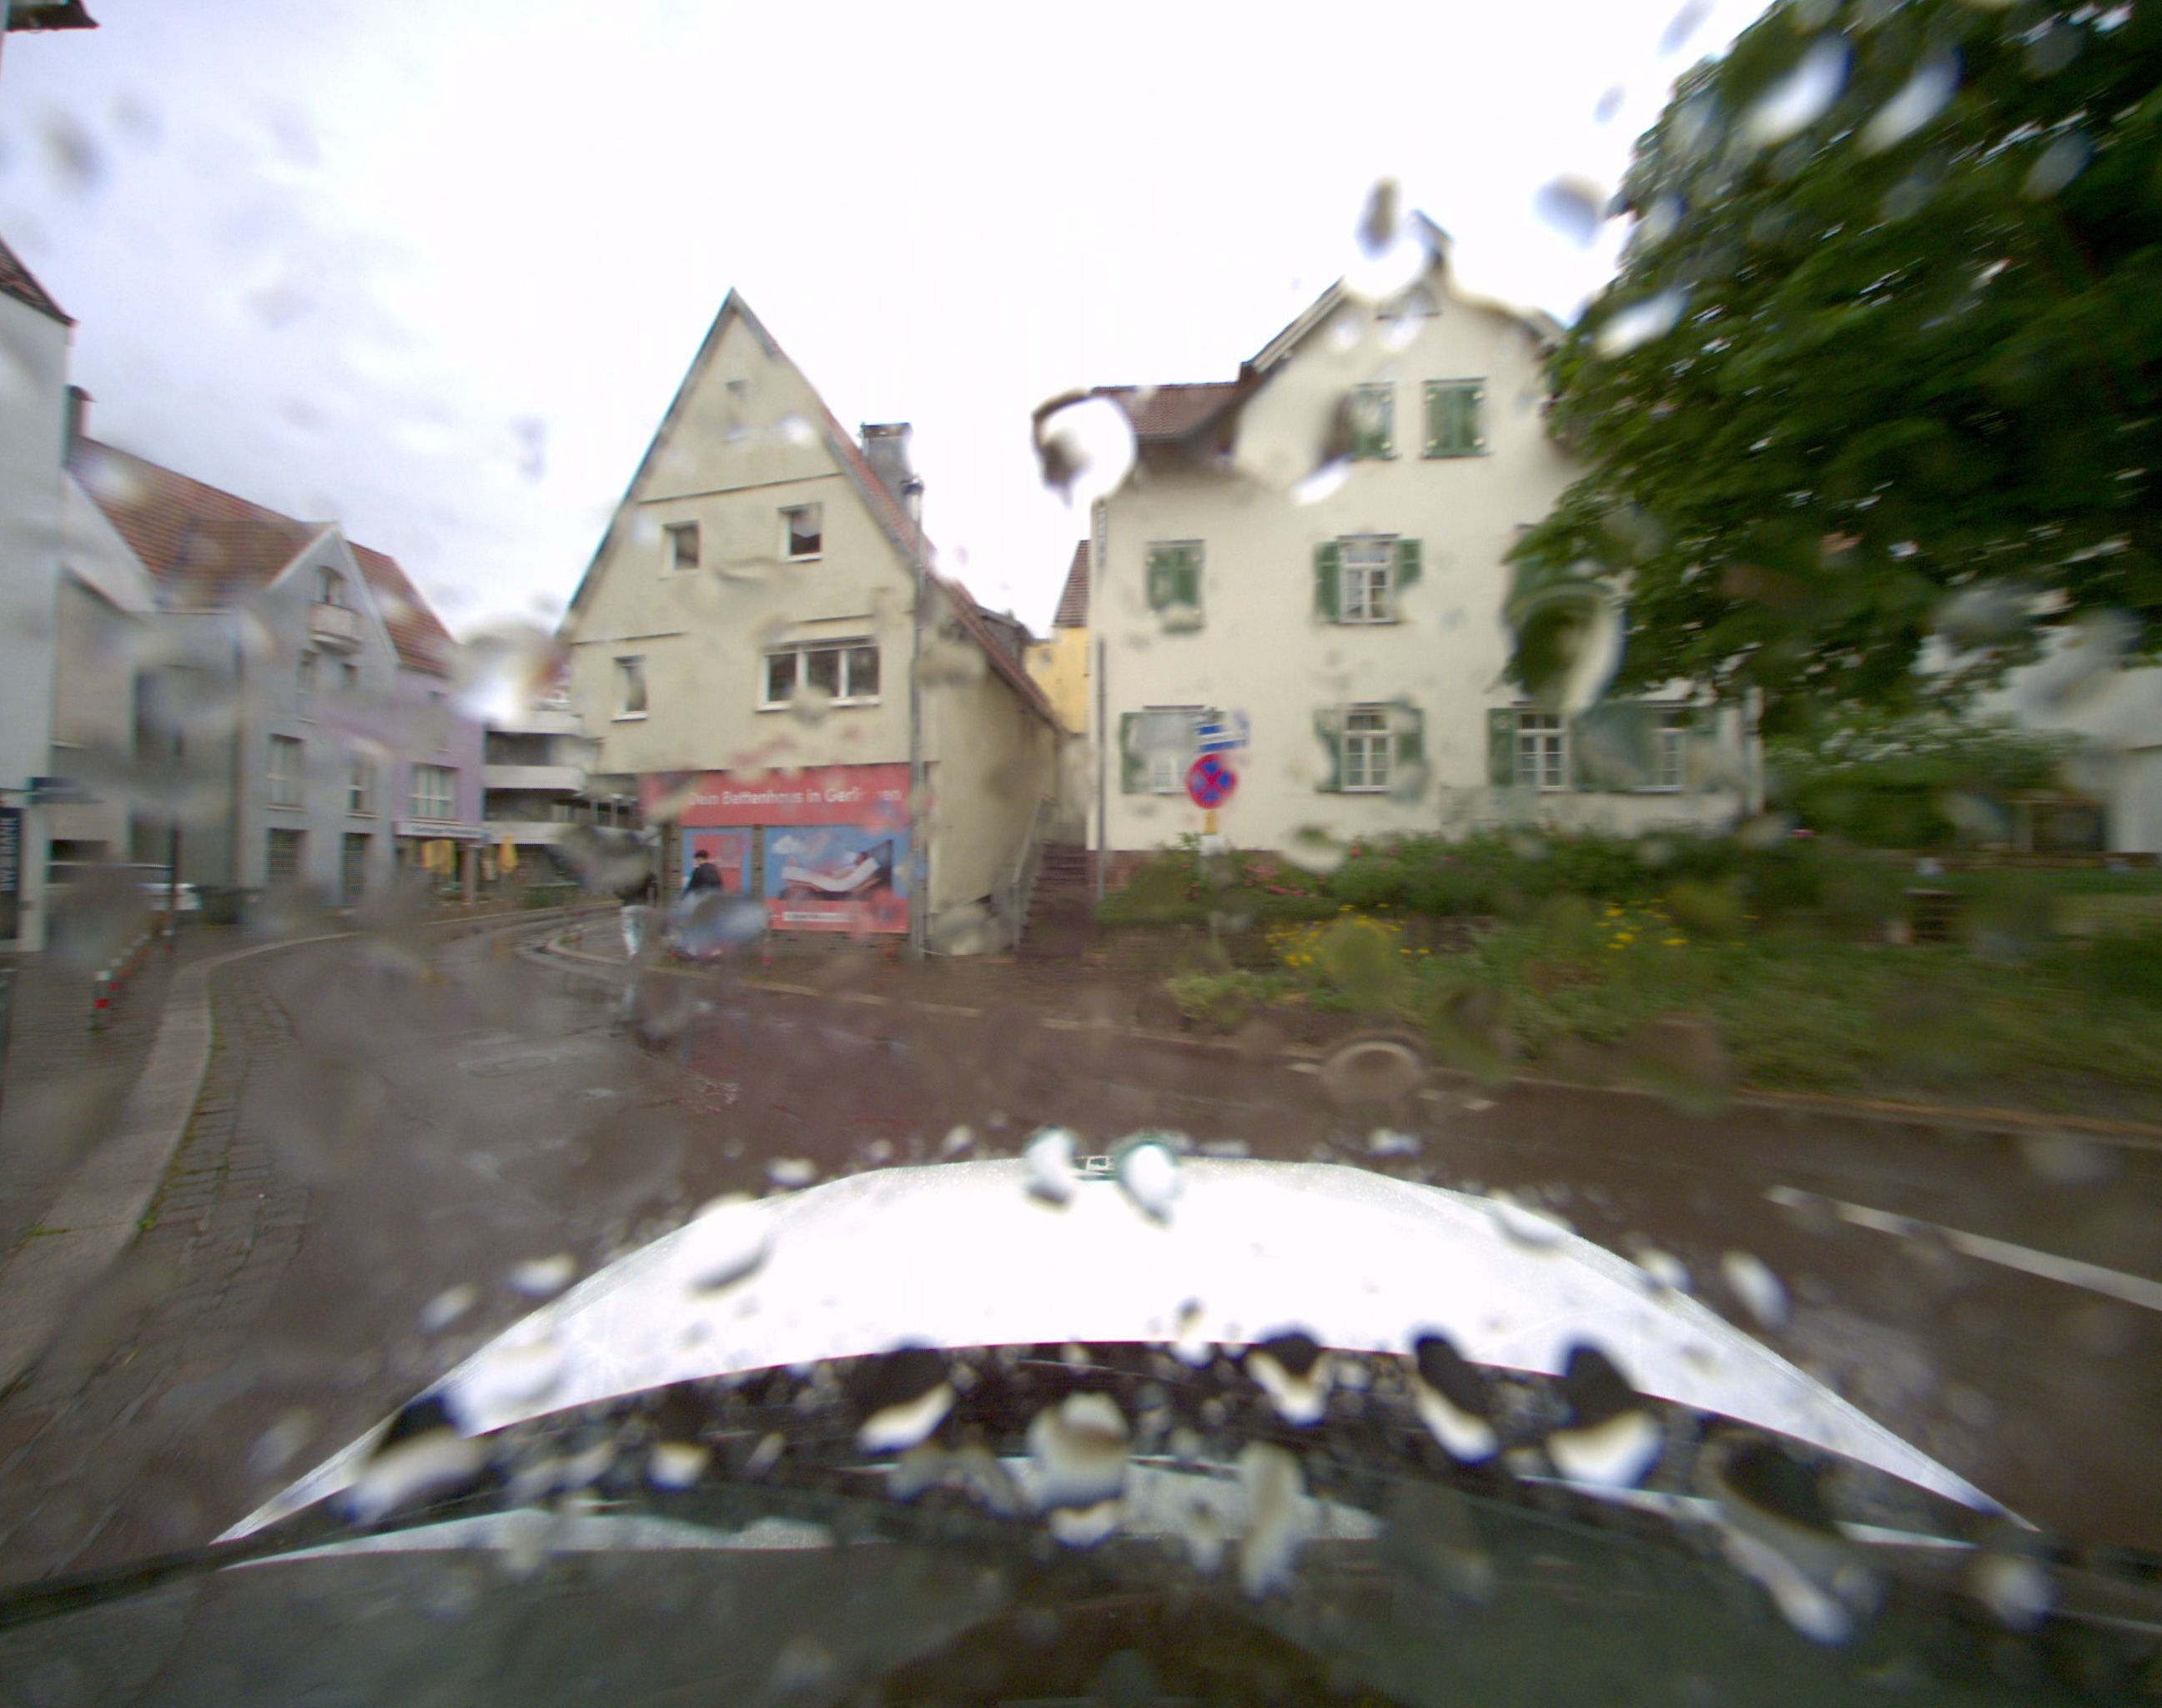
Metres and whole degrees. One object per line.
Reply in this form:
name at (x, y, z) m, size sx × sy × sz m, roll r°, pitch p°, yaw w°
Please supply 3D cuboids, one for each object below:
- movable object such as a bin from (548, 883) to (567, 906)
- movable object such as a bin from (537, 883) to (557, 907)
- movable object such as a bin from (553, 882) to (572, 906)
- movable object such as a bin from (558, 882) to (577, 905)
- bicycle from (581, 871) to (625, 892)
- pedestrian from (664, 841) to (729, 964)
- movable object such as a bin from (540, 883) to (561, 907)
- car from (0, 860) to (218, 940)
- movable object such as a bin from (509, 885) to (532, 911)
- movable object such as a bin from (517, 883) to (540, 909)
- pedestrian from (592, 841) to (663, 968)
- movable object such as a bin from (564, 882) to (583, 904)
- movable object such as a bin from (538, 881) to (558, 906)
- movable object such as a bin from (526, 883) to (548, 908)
movable object such as a bin at (-25.693, 1.979, 39.961) m, size 0.633 × 1.128 × 0.574 m, roll 0°, pitch -2°, yaw -12°
movable object such as a bin at (-25.247, 1.920, 38.513) m, size 0.633 × 1.128 × 0.574 m, roll 0°, pitch -2°, yaw -12°
movable object such as a bin at (-25.831, 1.989, 40.597) m, size 0.633 × 1.128 × 0.574 m, roll 0°, pitch -2°, yaw -12°
movable object such as a bin at (-25.991, 1.993, 41.227) m, size 0.633 × 1.128 × 0.574 m, roll 0°, pitch -2°, yaw -12°
bicycle at (-32.254, 1.856, 54.994) m, size 2.300 × 1.314 × 1.007 m, roll -1°, pitch -2°, yaw -8°
pedestrian at (-6.520, 0.812, 13.836) m, size 0.753 × 2.014 × 0.656 m, roll -2°, pitch -2°, yaw 18°
movable object such as a bin at (-25.545, 1.954, 39.224) m, size 0.633 × 1.128 × 0.574 m, roll 0°, pitch -2°, yaw -12°
car at (-22.602, 1.006, 18.403) m, size 3.974 × 1.676 × 1.999 m, roll 0°, pitch -2°, yaw 0°
movable object such as a bin at (-24.284, 1.894, 35.272) m, size 0.633 × 1.128 × 0.574 m, roll 0°, pitch -2°, yaw -12°
movable object such as a bin at (-24.434, 1.861, 36.028) m, size 0.633 × 1.128 × 0.574 m, roll 0°, pitch -2°, yaw -12°
pedestrian at (-7.389, 0.809, 13.288) m, size 0.753 × 2.014 × 0.656 m, roll -2°, pitch -2°, yaw 18°
movable object such as a bin at (-26.069, 2.001, 41.851) m, size 0.633 × 1.128 × 0.574 m, roll 0°, pitch -2°, yaw -12°
movable object such as a bin at (-24.823, 1.839, 37.937) m, size 0.633 × 1.128 × 0.574 m, roll 0°, pitch -2°, yaw -12°
movable object such as a bin at (-24.586, 1.862, 36.828) m, size 0.633 × 1.128 × 0.574 m, roll 0°, pitch -2°, yaw -12°
